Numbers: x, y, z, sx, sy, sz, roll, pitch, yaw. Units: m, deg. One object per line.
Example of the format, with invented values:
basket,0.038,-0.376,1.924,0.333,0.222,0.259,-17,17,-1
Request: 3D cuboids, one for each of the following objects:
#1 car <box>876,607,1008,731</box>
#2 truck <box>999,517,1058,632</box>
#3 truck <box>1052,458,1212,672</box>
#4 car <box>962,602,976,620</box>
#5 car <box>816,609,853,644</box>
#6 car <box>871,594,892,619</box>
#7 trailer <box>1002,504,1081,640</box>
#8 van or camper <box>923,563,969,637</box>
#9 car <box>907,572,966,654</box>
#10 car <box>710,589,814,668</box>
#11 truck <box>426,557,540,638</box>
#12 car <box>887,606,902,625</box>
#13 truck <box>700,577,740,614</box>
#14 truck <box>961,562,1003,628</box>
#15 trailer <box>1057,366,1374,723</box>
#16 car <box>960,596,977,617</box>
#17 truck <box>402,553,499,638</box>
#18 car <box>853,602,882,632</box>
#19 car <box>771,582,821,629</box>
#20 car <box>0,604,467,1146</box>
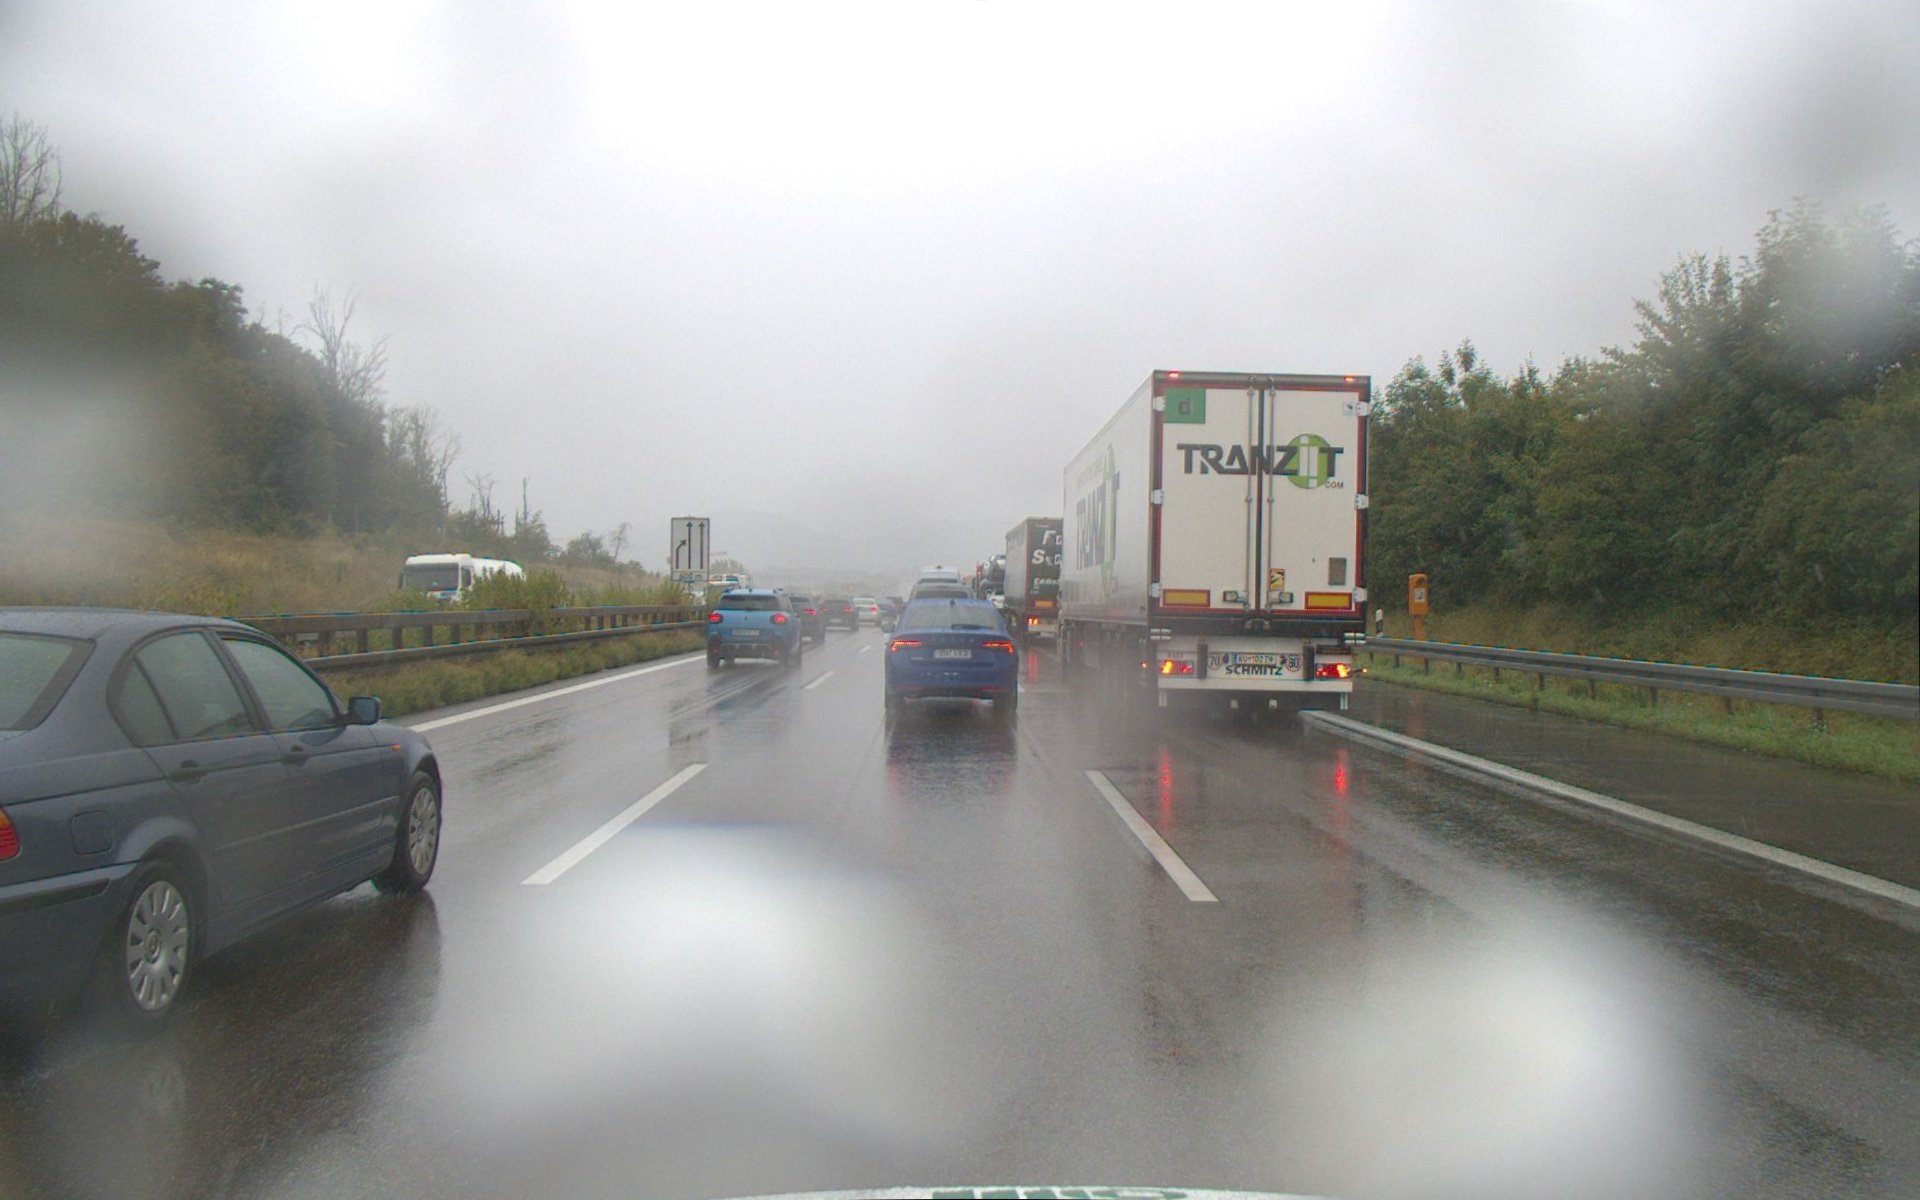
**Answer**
car,-0.222,0.851,22.183,1.602,1.470,4.000,0,0,0
truck,2.593,-0.959,63.262,2.005,4.266,3.999,0,0,-1
truck,3.289,-0.647,32.654,2.577,3.894,4.790,0,0,-1
car,0.853,1.018,154.849,1.223,1.538,3.107,0,1,-1
car,-5.568,1.162,73.533,1.410,1.445,3.321,0,0,-1
car,-5.825,0.487,122.627,1.419,1.815,3.408,1,0,-1
trailer,2.683,-0.907,57.382,2.005,4.250,11.446,0,0,-1
van or camper,-0.569,-0.016,66.898,1.761,2.855,4.767,0,0,-1
car,-0.558,0.281,38.765,1.309,1.811,3.321,0,0,-1
car,-4.129,0.566,35.042,1.686,1.550,4.000,0,0,0
truck,-21.287,0.000,74.321,2.503,3.356,9.346,-1,-1,-1
car,-6.423,1.506,162.909,1.419,1.815,3.408,1,0,-1
truck,-18.765,-0.342,129.548,2.431,2.767,4.527,-1,-1,0
truck,1.193,-0.322,92.682,1.953,3.481,8.029,0,1,-2
trailer,3.373,-0.685,26.354,2.577,4.083,14.627,0,0,-1
car,0.717,0.572,142.501,1.419,1.815,3.408,1,0,-1
truck,-21.175,-0.139,69.009,2.490,3.337,5.196,-2,-1,-2
car,-4.936,0.892,88.363,1.410,1.560,3.321,0,0,-1
car,-5.244,0.171,53.207,1.331,1.456,3.363,0,0,-1
car,-3.411,0.742,6.530,1.683,1.424,4.229,0,0,-1
